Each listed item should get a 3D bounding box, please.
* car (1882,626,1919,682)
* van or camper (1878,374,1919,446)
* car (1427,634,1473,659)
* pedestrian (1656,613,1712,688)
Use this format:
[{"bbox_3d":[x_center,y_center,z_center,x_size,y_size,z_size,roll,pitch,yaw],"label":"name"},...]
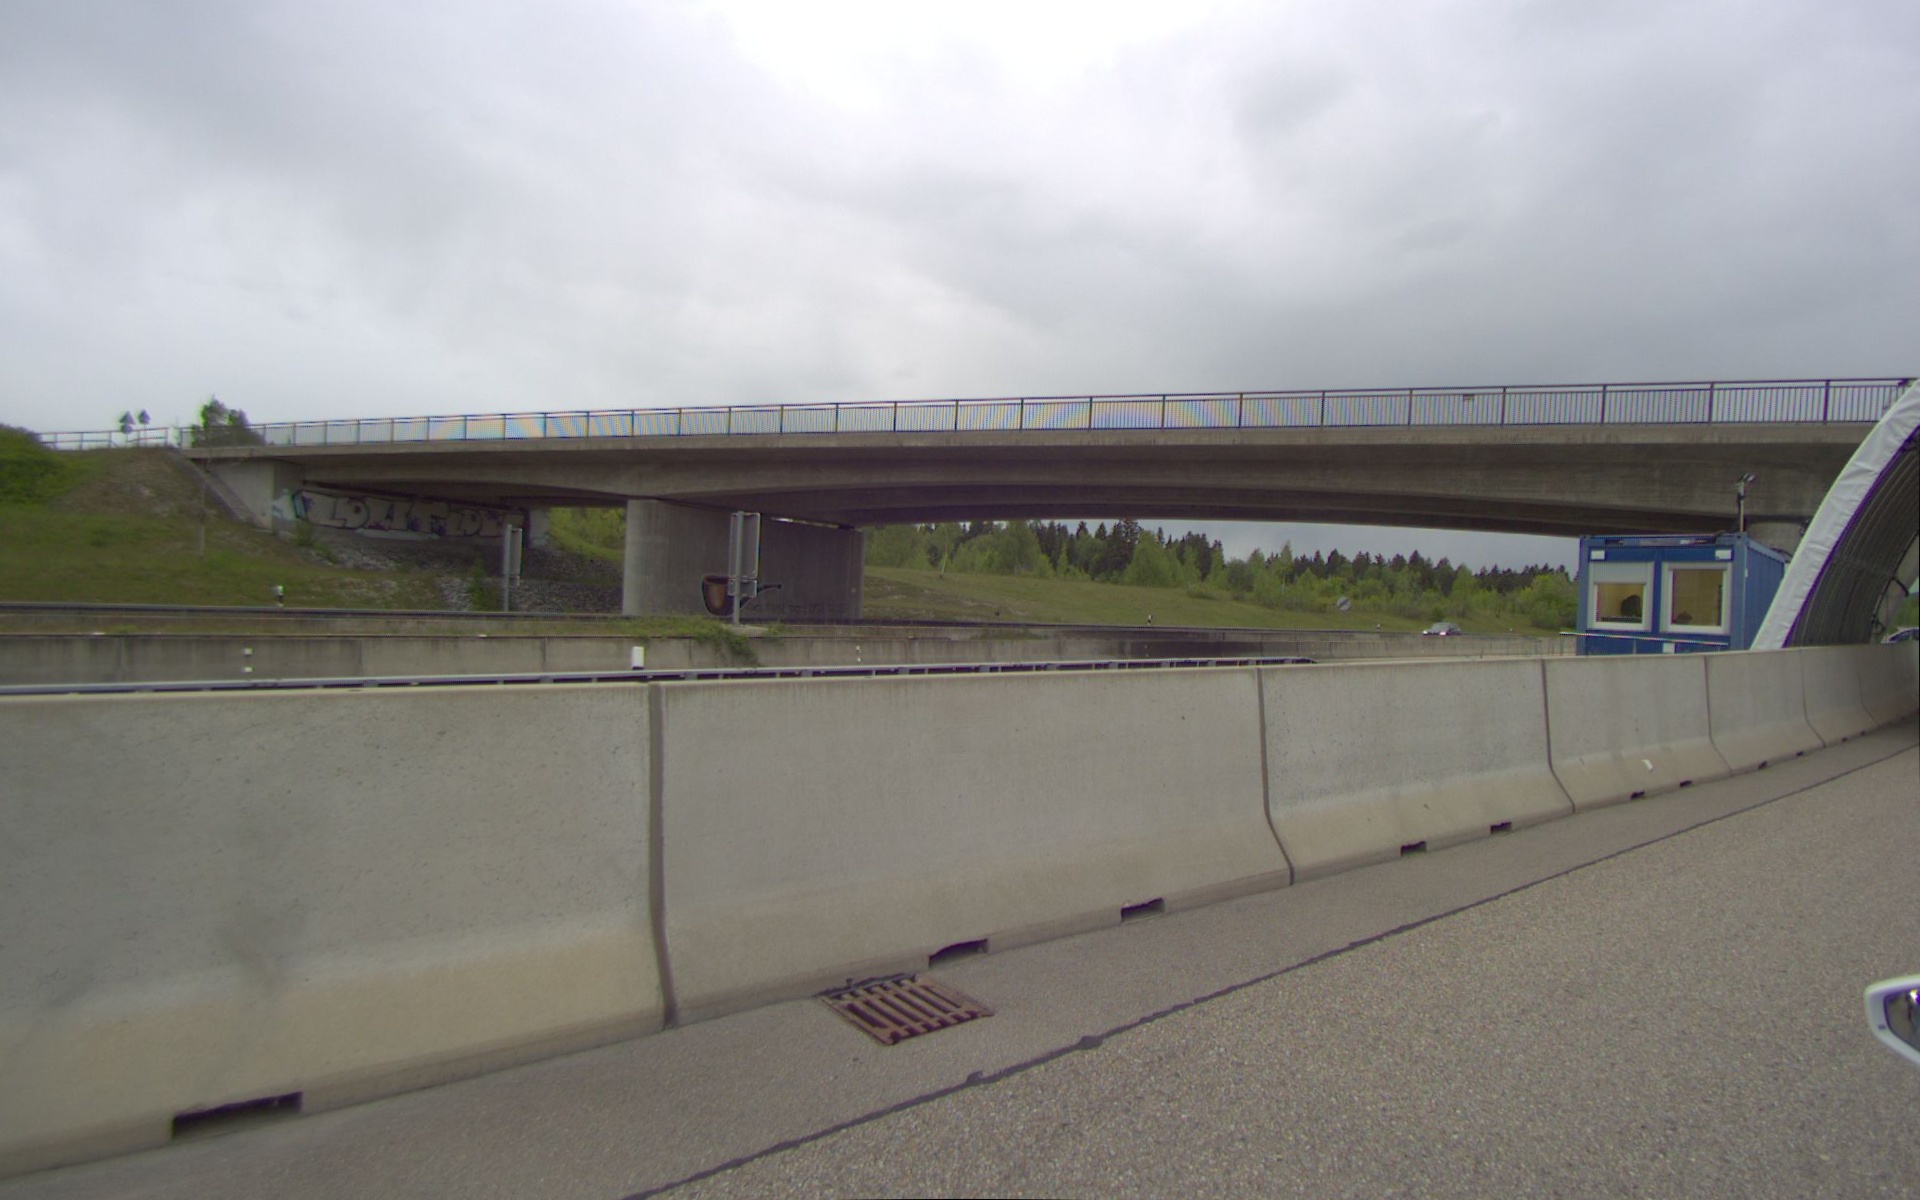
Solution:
[{"bbox_3d":[36.844,2.032,36.352,1.814,2.040,4.797,2,-1,-22],"label":"car"},{"bbox_3d":[30.484,-5.578,29.107,5.347,1.793,1.896,2,0,22],"label":"van or camper"},{"bbox_3d":[40.692,3.874,83.389,1.964,1.981,5.079,0,-2,44],"label":"car"},{"bbox_3d":[13.627,0.944,18.906,0.618,1.391,0.609,2,-1,-21],"label":"pedestrian"}]
